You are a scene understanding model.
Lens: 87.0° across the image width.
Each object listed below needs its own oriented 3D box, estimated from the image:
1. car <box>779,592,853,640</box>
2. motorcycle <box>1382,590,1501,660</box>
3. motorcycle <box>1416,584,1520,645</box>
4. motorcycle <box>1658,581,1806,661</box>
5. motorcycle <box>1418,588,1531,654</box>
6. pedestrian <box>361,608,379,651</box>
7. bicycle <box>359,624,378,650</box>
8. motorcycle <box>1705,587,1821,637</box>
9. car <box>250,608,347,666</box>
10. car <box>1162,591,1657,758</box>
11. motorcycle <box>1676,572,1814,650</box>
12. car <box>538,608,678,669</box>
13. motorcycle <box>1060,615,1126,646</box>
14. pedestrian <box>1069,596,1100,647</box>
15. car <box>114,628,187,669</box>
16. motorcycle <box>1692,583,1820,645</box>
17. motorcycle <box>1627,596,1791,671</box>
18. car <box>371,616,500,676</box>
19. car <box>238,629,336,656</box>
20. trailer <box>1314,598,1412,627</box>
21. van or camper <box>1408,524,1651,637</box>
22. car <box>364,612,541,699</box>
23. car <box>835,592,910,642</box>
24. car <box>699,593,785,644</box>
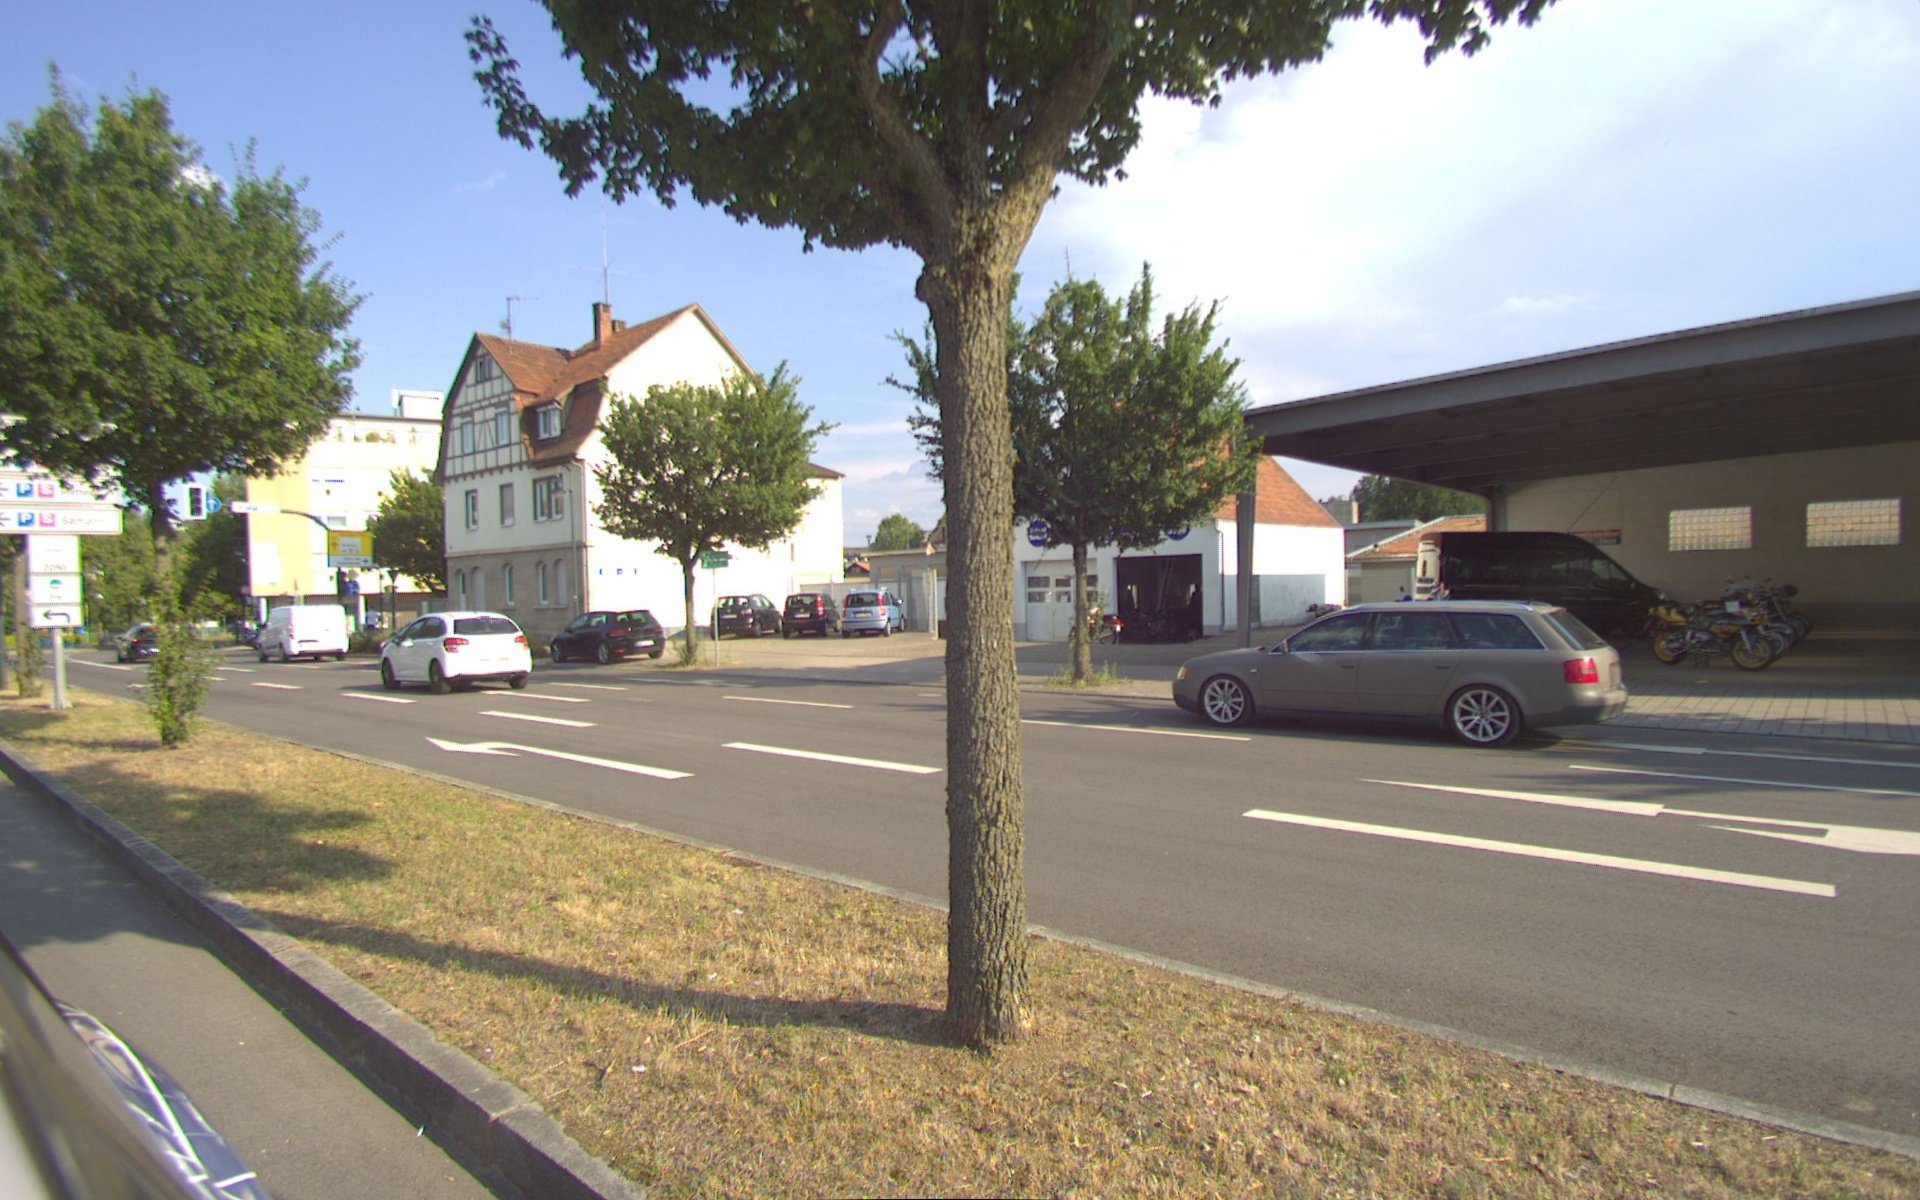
[{"bbox_3d":[-5.031,0.540,35.889,1.745,1.564,3.994,-1,0,5],"label":"car"},{"bbox_3d":[9.306,0.483,19.639,1.991,1.321,0.665,-1,0,18],"label":"motorcycle"},{"bbox_3d":[11.534,0.327,23.007,1.982,1.321,0.649,-1,0,4],"label":"motorcycle"},{"bbox_3d":[13.883,0.364,18.287,0.553,1.340,2.161,-1,0,-19],"label":"motorcycle"},{"bbox_3d":[10.772,0.434,21.225,1.982,1.321,0.649,-1,0,4],"label":"motorcycle"},{"bbox_3d":[-27.969,1.376,47.961,0.688,1.997,0.590,-1,0,-35],"label":"pedestrian"},{"bbox_3d":[-28.558,1.764,48.831,0.670,1.231,1.518,-1,0,-35],"label":"bicycle"},{"bbox_3d":[18.939,0.280,23.934,0.553,1.131,2.161,-1,0,-19],"label":"motorcycle"},{"bbox_3d":[-23.817,1.294,36.362,4.945,1.938,1.803,-1,-1,44],"label":"car"},{"bbox_3d":[4.738,0.693,11.189,4.710,1.473,1.668,-1,0,42],"label":"car"},{"bbox_3d":[15.544,0.211,20.121,0.584,1.459,2.161,-1,0,-19],"label":"motorcycle"},{"bbox_3d":[-9.961,1.050,28.500,4.193,1.454,1.816,-1,3,41],"label":"car"},{"bbox_3d":[4.155,0.961,31.821,2.212,0.927,0.500,-1,0,45],"label":"motorcycle"},{"bbox_3d":[3.843,0.662,31.297,0.643,1.535,0.675,-1,0,-41],"label":"pedestrian"},{"bbox_3d":[-31.773,1.871,39.683,4.110,1.462,1.749,-1,0,45],"label":"car"},{"bbox_3d":[17.222,0.288,21.960,0.636,1.268,2.161,-1,0,-19],"label":"motorcycle"},{"bbox_3d":[12.186,0.515,16.566,0.620,1.132,2.161,-1,0,-19],"label":"motorcycle"},{"bbox_3d":[-14.692,1.234,28.250,4.244,1.508,1.788,-1,0,42],"label":"car"},{"bbox_3d":[-39.355,2.453,59.204,4.594,1.364,1.770,-1,0,-41],"label":"car"},{"bbox_3d":[14.248,0.431,35.734,2.448,0.831,3.152,-1,2,38],"label":"trailer"},{"bbox_3d":[14.510,-0.467,26.064,4.978,2.700,1.995,-1,0,8],"label":"van or camper"},{"bbox_3d":[-10.079,1.023,19.986,3.954,1.508,1.782,-1,0,42],"label":"car"},{"bbox_3d":[-2.879,0.531,34.161,1.746,1.564,3.992,-1,0,7],"label":"car"},{"bbox_3d":[-7.698,0.626,36.108,1.746,1.563,3.992,-2,1,7],"label":"car"}]
